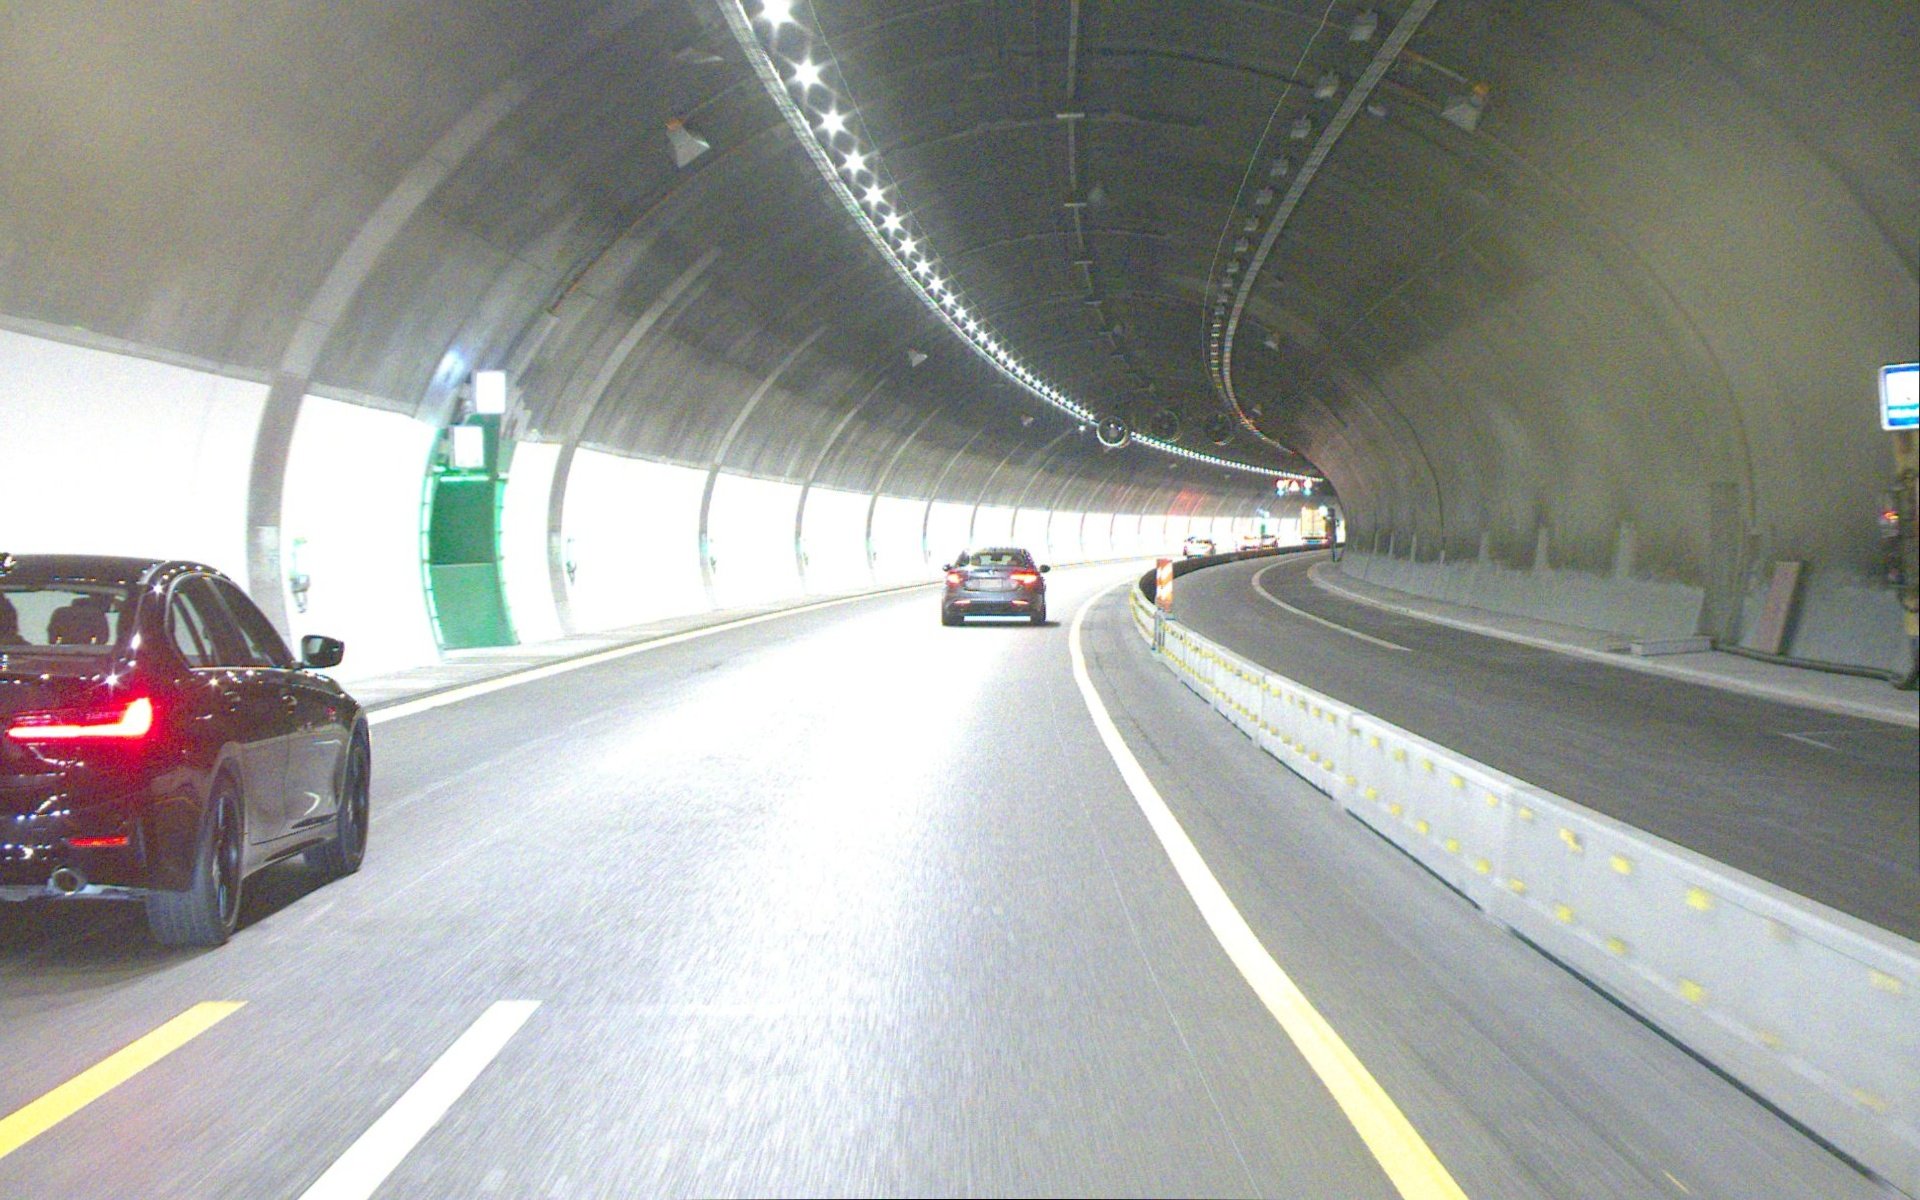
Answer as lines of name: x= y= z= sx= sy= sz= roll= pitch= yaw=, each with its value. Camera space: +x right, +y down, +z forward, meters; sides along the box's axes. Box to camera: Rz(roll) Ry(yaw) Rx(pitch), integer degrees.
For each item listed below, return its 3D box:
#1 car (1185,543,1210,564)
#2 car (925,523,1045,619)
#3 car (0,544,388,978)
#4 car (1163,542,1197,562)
car: x=15.590 y=-3.066 z=225.450 sx=1.595 sy=1.328 sz=3.750 roll=0 pitch=1 yaw=4
car: x=0.491 y=-0.562 z=63.327 sx=2.141 sy=1.700 sz=4.000 roll=0 pitch=1 yaw=1
car: x=-3.600 y=0.508 z=14.071 sx=1.778 sy=1.433 sz=4.883 roll=0 pitch=1 yaw=-1
car: x=16.766 y=-3.638 z=262.152 sx=2.166 sy=1.481 sz=3.999 roll=0 pitch=1 yaw=10
